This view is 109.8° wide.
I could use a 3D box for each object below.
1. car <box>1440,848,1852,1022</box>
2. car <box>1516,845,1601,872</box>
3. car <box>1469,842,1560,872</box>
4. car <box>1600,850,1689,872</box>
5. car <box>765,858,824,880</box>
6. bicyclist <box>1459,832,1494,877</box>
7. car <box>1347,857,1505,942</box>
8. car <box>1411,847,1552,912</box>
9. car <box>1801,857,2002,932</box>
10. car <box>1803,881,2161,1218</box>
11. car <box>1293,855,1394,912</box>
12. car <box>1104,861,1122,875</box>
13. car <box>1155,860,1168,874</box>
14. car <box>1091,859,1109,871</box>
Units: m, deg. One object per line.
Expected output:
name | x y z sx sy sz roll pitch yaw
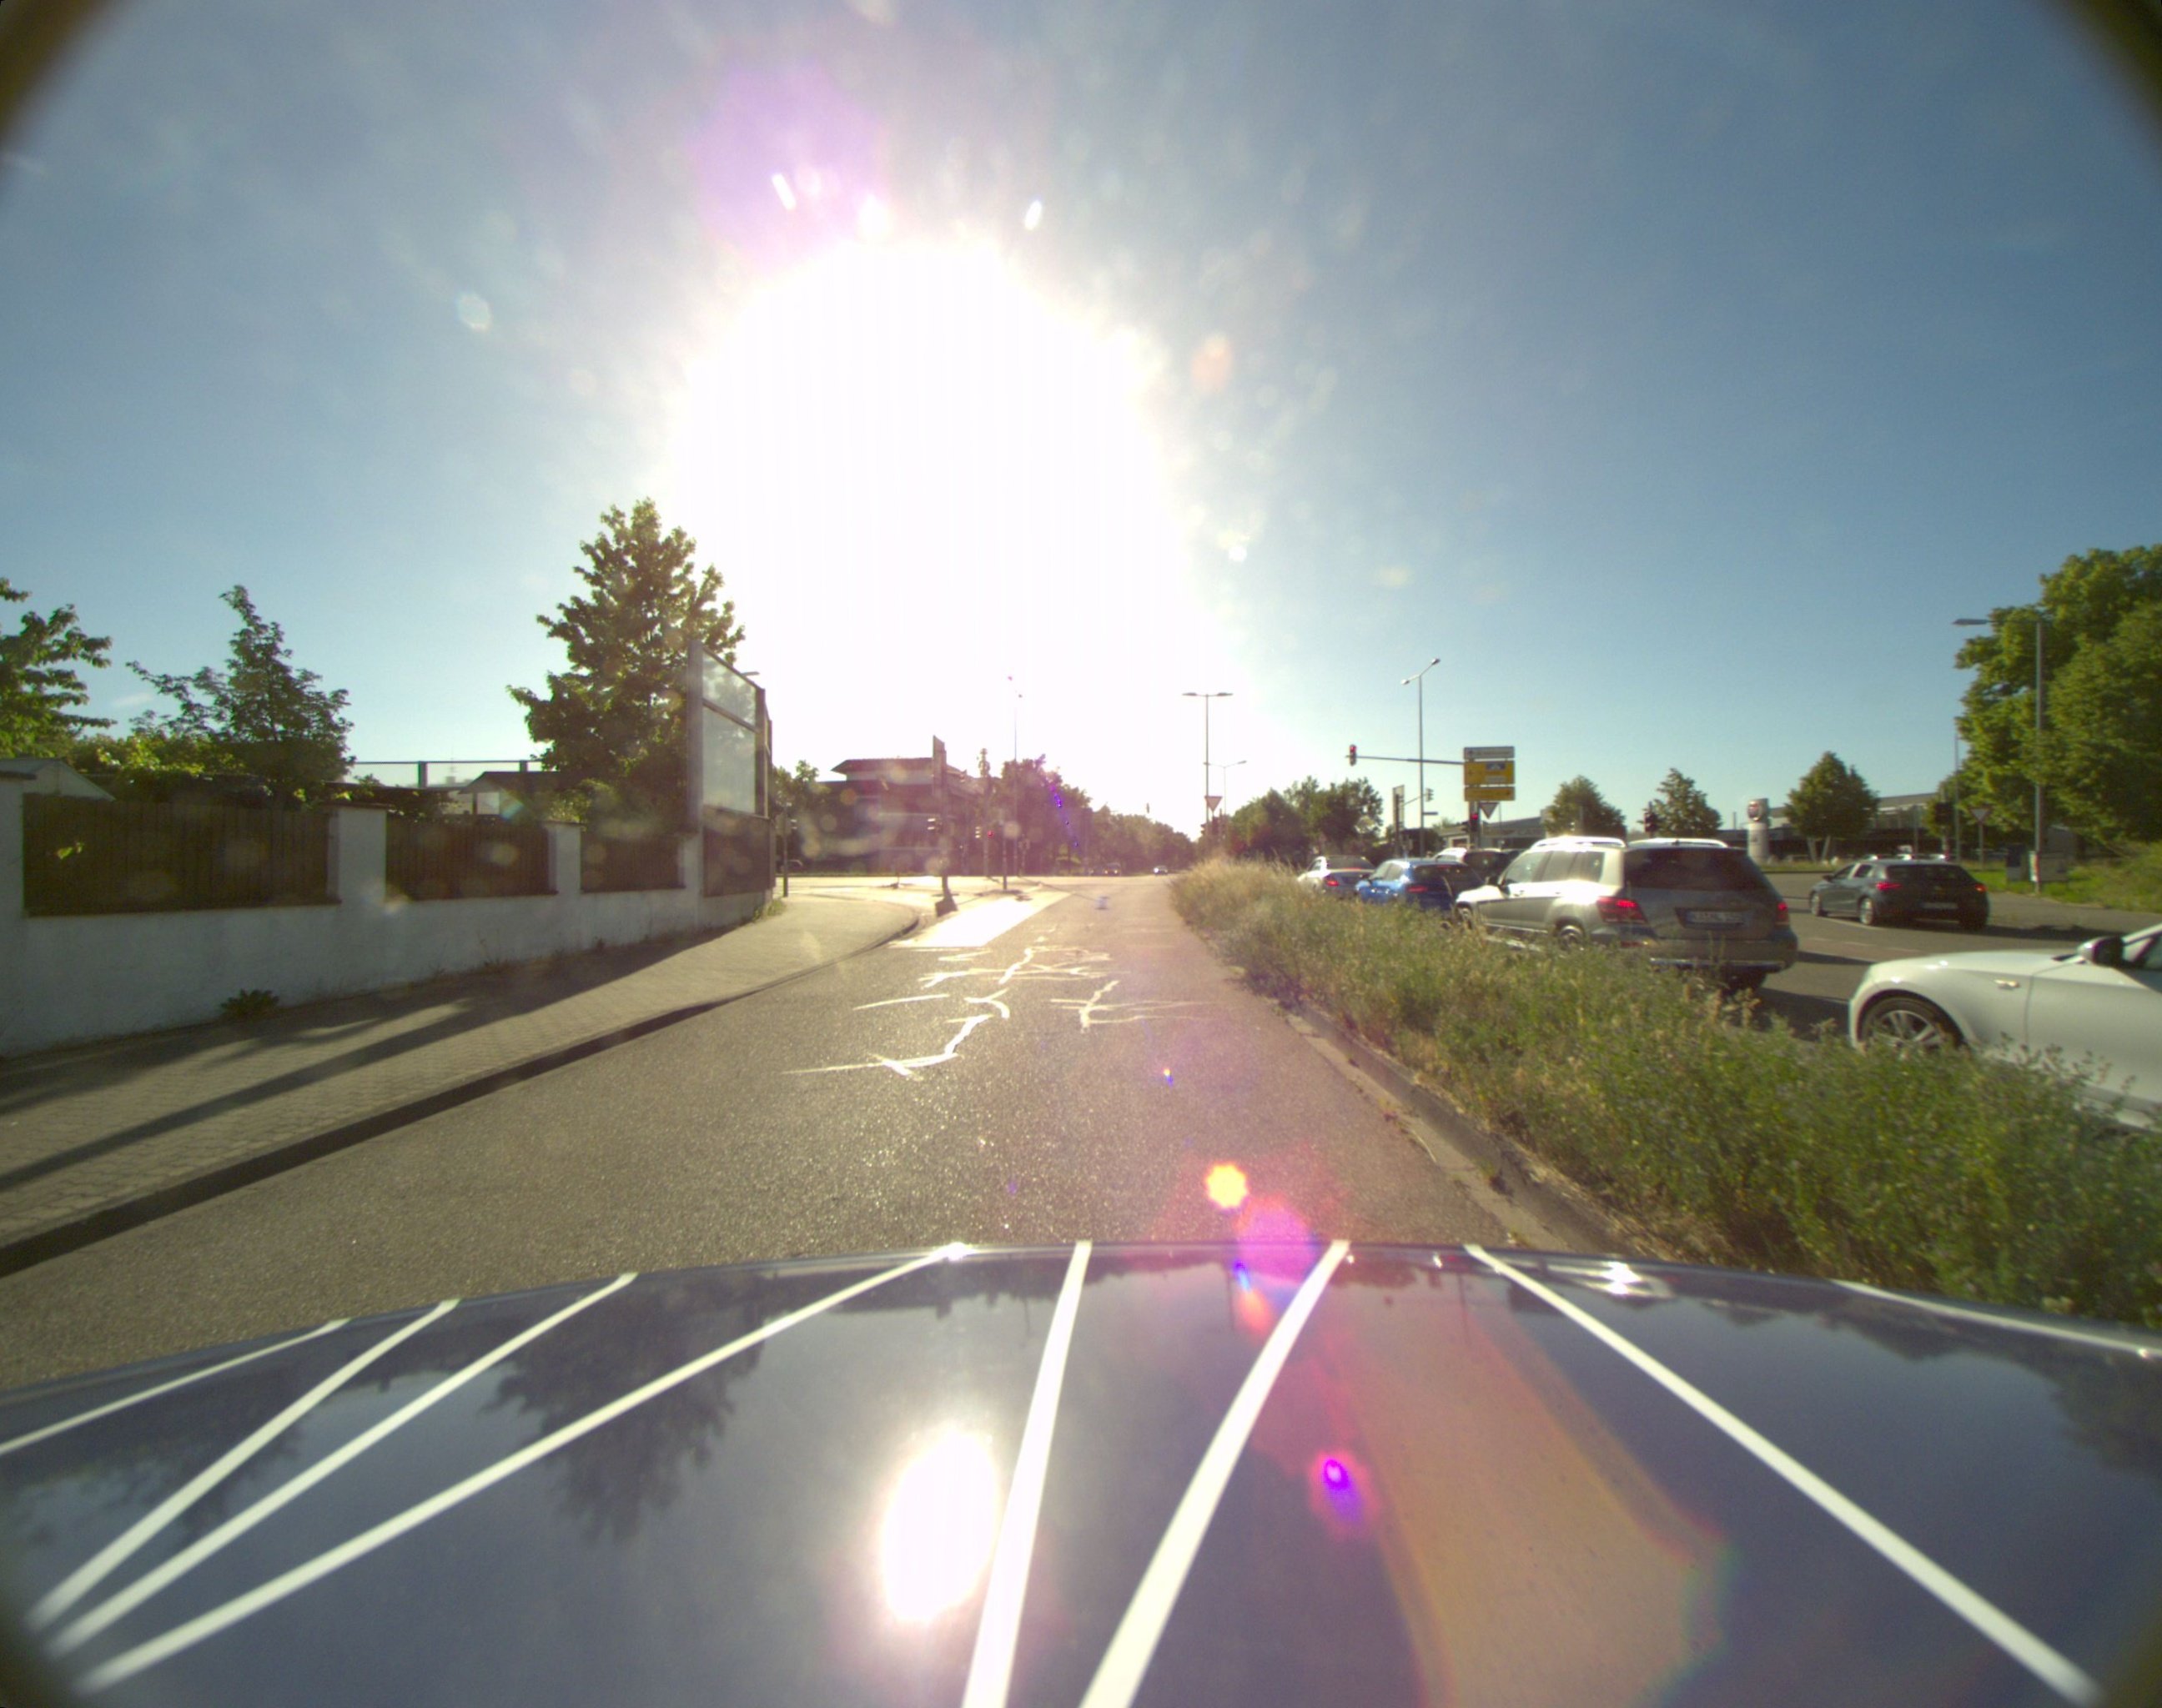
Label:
car | 6.332 0.752 9.368 1.998 1.606 4.532 0 0 5
car | 29.465 0.298 46.987 4.036 1.634 1.894 0 -2 2
car | 30.617 0.242 53.774 5.271 2.001 2.049 0 -2 2
car | 34.741 0.425 46.891 4.036 1.267 1.894 0 -2 2
car | -21.371 1.141 56.798 3.779 1.477 1.777 -2 -1 -7
bicyclist | 15.202 0.027 29.235 0.746 1.692 1.242 0 0 5
car | 6.764 0.817 15.350 1.750 1.474 3.889 0 0 6
car | 11.177 0.650 21.635 1.997 1.634 4.532 0 0 6
car | 18.163 0.811 17.093 1.710 1.422 4.007 1 1 26
car | 5.791 0.902 2.970 1.998 1.442 4.401 0 0 5
car | 7.494 0.780 22.170 1.797 1.497 4.532 0 0 6
car | 3.778 1.635 89.281 1.775 1.477 4.218 1 -1 8
car | 11.849 1.948 112.094 1.729 2.002 4.001 0 0 4
car | 2.503 1.452 98.307 1.775 1.477 4.218 1 -1 8
